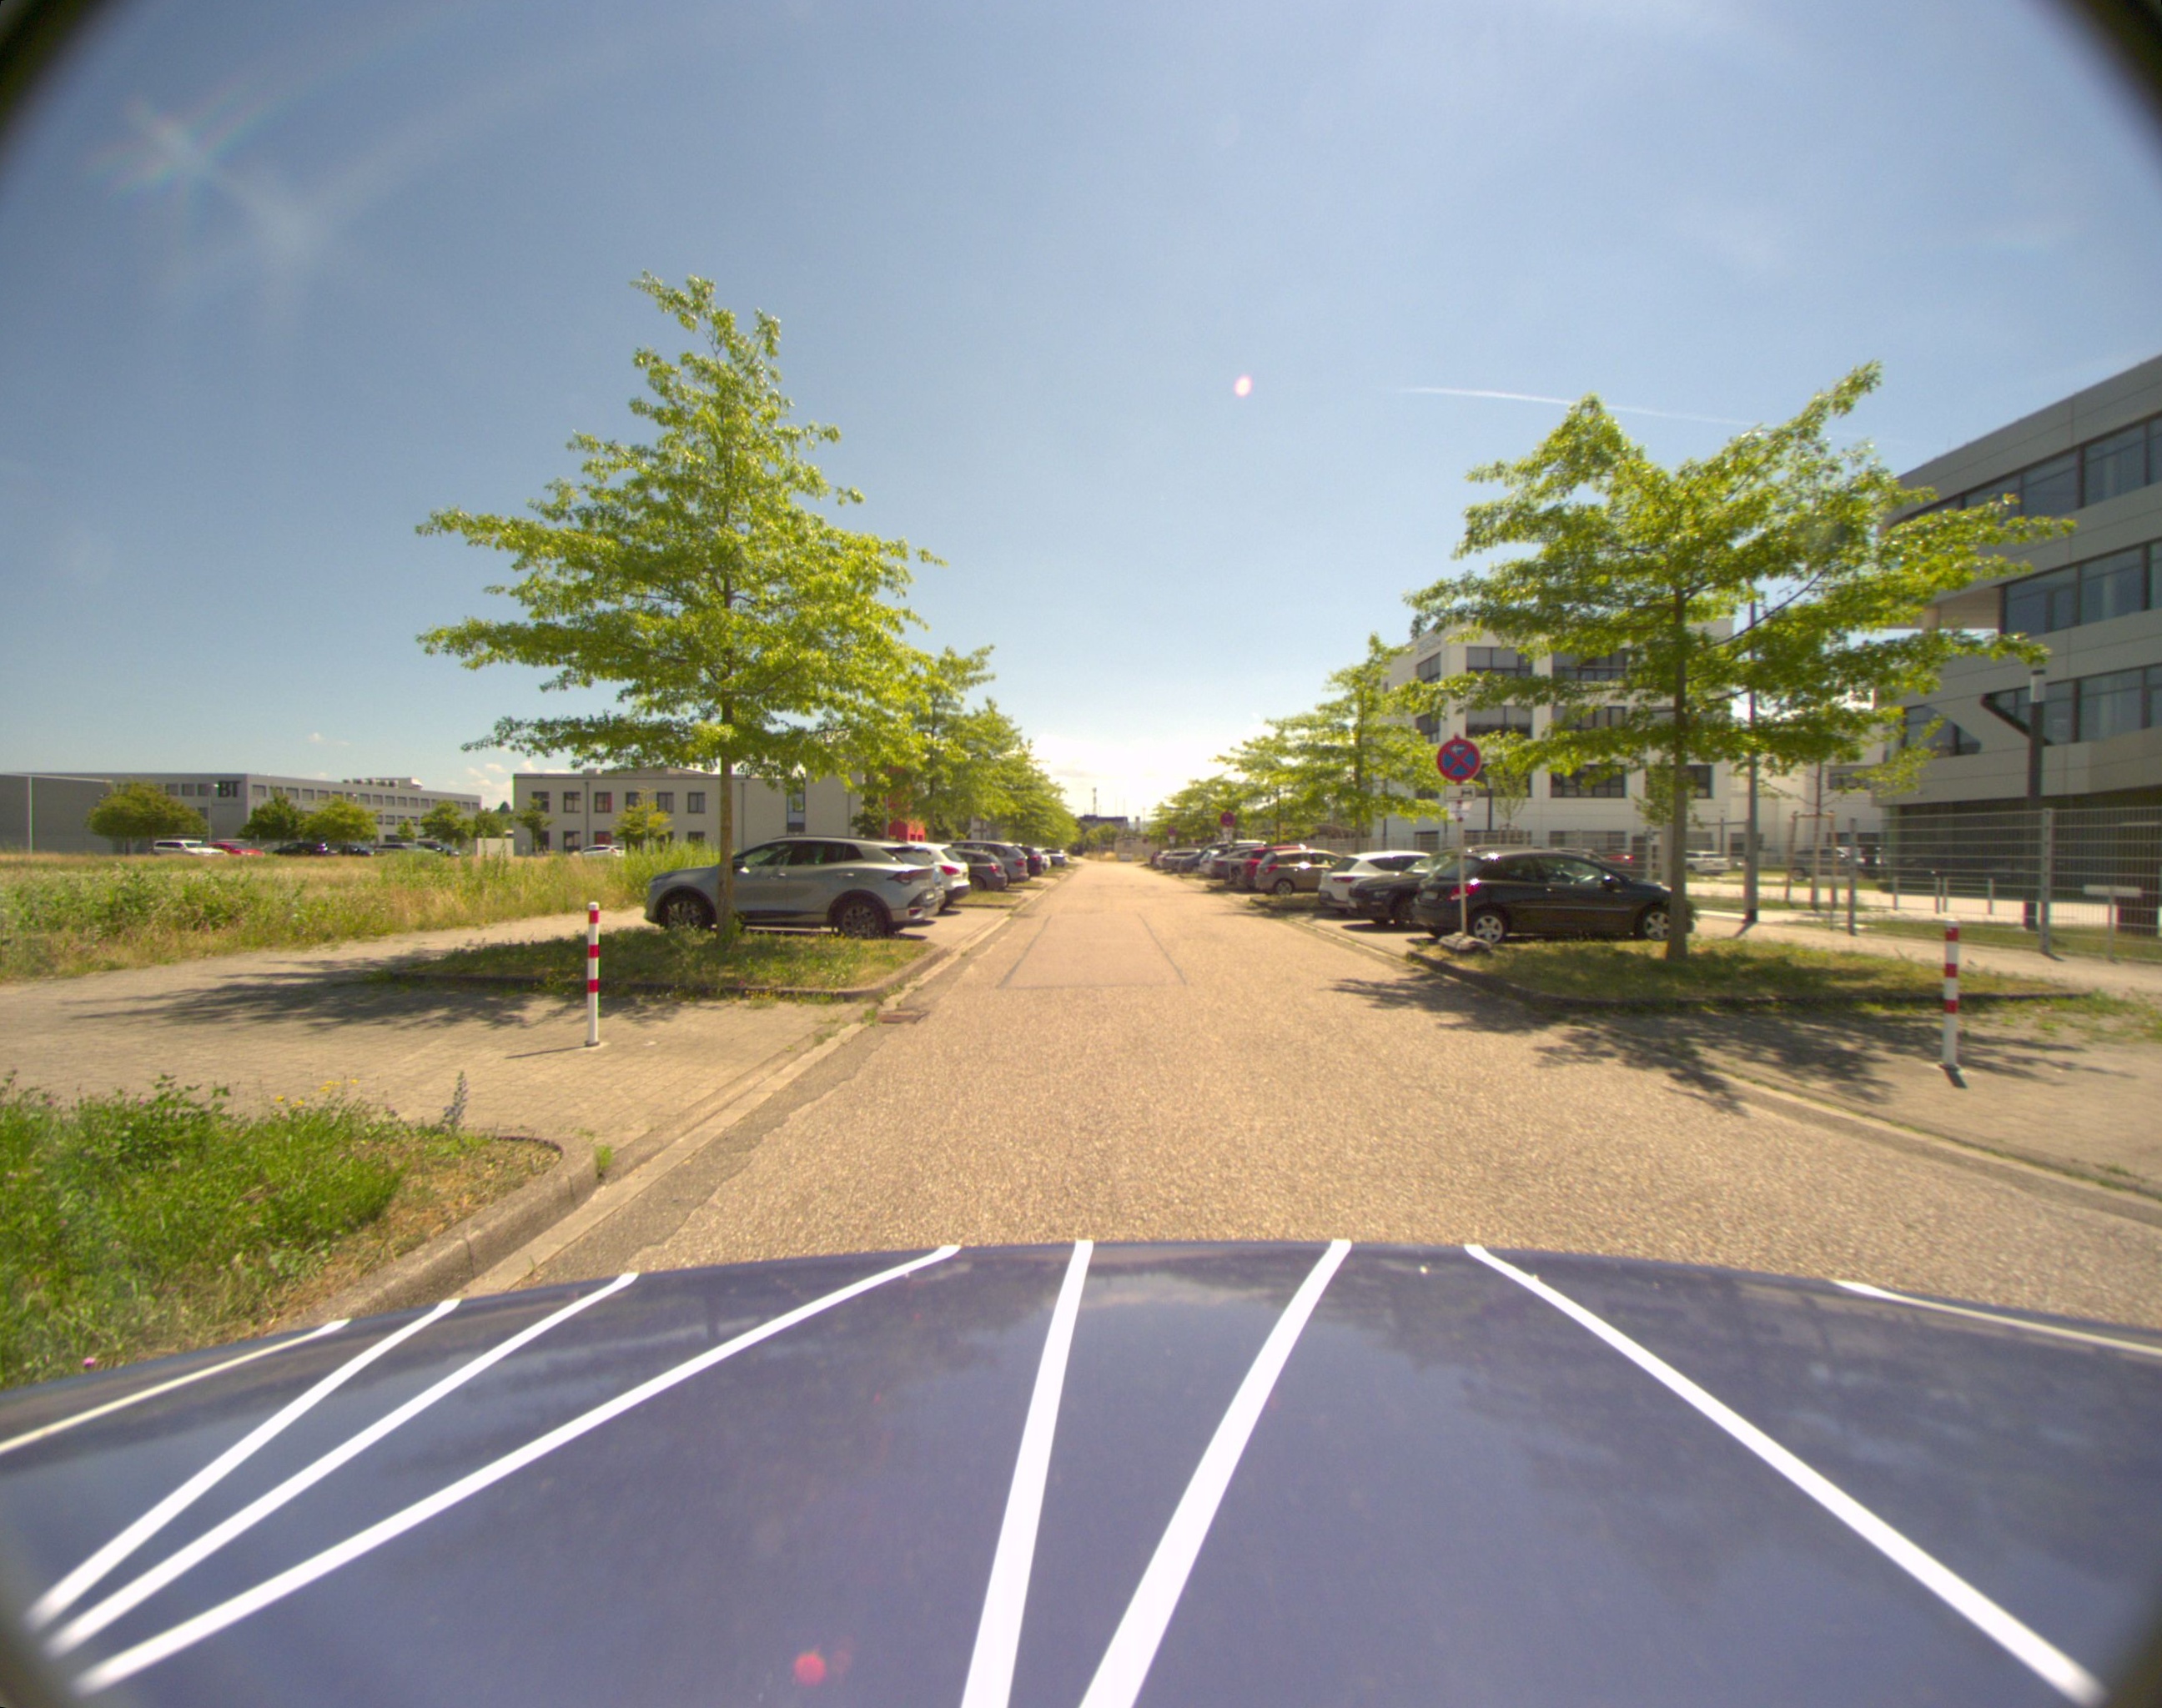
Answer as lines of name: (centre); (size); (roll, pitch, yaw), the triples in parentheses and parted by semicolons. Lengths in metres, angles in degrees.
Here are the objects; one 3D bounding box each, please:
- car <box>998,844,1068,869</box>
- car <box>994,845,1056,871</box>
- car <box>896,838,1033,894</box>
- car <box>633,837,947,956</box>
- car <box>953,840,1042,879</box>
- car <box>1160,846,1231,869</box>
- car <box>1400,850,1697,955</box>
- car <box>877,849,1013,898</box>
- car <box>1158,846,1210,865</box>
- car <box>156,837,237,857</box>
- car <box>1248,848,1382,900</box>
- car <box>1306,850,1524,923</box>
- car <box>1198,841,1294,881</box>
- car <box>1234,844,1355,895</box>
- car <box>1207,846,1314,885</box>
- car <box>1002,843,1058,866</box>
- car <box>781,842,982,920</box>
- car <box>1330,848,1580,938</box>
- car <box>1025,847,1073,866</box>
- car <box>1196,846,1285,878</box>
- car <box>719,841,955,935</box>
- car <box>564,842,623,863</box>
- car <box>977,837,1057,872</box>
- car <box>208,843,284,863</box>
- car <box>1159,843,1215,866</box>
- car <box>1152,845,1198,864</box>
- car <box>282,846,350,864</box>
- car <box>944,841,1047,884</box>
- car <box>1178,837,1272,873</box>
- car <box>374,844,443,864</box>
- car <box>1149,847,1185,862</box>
car: (-3.326, 0.161, 53.217); (4.729, 1.552, 1.913); (2, 1, -2)
car: (-3.435, 0.235, 47.004); (3.639, 1.494, 1.676); (2, 1, 2)
car: (-4.000, 0.392, 26.681); (4.460, 1.758, 1.992); (2, 1, -1)
car: (-4.502, 0.618, 12.217); (4.289, 1.635, 1.851); (2, 1, 1)
car: (-3.883, 0.257, 35.580); (3.884, 1.668, 1.782); (2, 1, 2)
car: (8.028, 0.240, 53.466); (4.725, 1.439, 1.857); (-2, 0, 0)
car: (7.245, 0.707, 12.050); (3.634, 1.427, 1.726); (-2, 1, 1)
car: (-4.229, 0.591, 24.099); (3.932, 1.402, 1.909); (1, 2, 1)
car: (8.760, 0.129, 64.669); (4.182, 1.504, 1.807); (-2, -1, 3)
car: (-64.948, -0.522, 55.820); (3.996, 1.444, 1.719); (1, 1, 1)
car: (7.326, 0.594, 24.052); (3.666, 1.500, 1.730); (-2, 1, -2)
car: (7.457, 0.692, 17.230); (4.086, 1.416, 1.873); (-2, 1, -2)
car: (7.674, 0.320, 35.566); (3.998, 1.669, 1.776); (-2, 1, -4)
car: (7.394, 0.525, 26.607); (3.746, 1.612, 1.816); (-2, 1, 2)
car: (7.691, 0.479, 32.760); (4.203, 1.471, 1.712); (-2, 1, 2)
car: (-3.907, 0.033, 58.528); (4.056, 1.616, 1.693); (2, 1, 2)
car: (-4.471, 0.570, 17.490); (4.078, 1.598, 1.901); (1, 2, 2)
car: (7.090, 0.697, 14.704); (3.937, 1.512, 1.785); (-2, 1, 1)
car: (-2.748, 0.201, 65.457); (3.842, 1.544, 1.780); (1, 0, 6)
car: (7.911, 0.387, 37.867); (4.048, 1.452, 1.604); (-2, 1, -1)
car: (-4.641, 0.615, 14.893); (3.997, 1.635, 1.838); (1, 1, 1)
car: (-36.767, -0.100, 57.380); (3.331, 1.501, 1.719); (1, 1, 1)
car: (-3.685, 0.018, 44.460); (4.413, 1.819, 1.796); (2, 1, 2)
car: (-64.176, -0.079, 58.431); (3.996, 1.501, 1.719); (1, 1, 1)
car: (8.095, 0.061, 58.418); (4.127, 1.625, 1.728); (-2, 0, 3)
car: (8.357, 0.068, 67.529); (3.849, 1.582, 1.727); (-2, 0, -1)
car: (-64.154, 0.085, 63.786); (3.996, 1.501, 1.719); (1, 1, 1)
car: (-3.620, 0.340, 32.739); (4.184, 1.686, 1.782); (2, 1, 0)
car: (8.271, 0.054, 43.919); (5.081, 1.881, 1.997); (-1, 1, 3)
car: (-53.995, 0.006, 61.035); (3.997, 1.501, 1.719); (1, 1, 0)
car: (8.892, 0.056, 79.046); (3.513, 1.433, 1.727); (-2, 0, 1)
